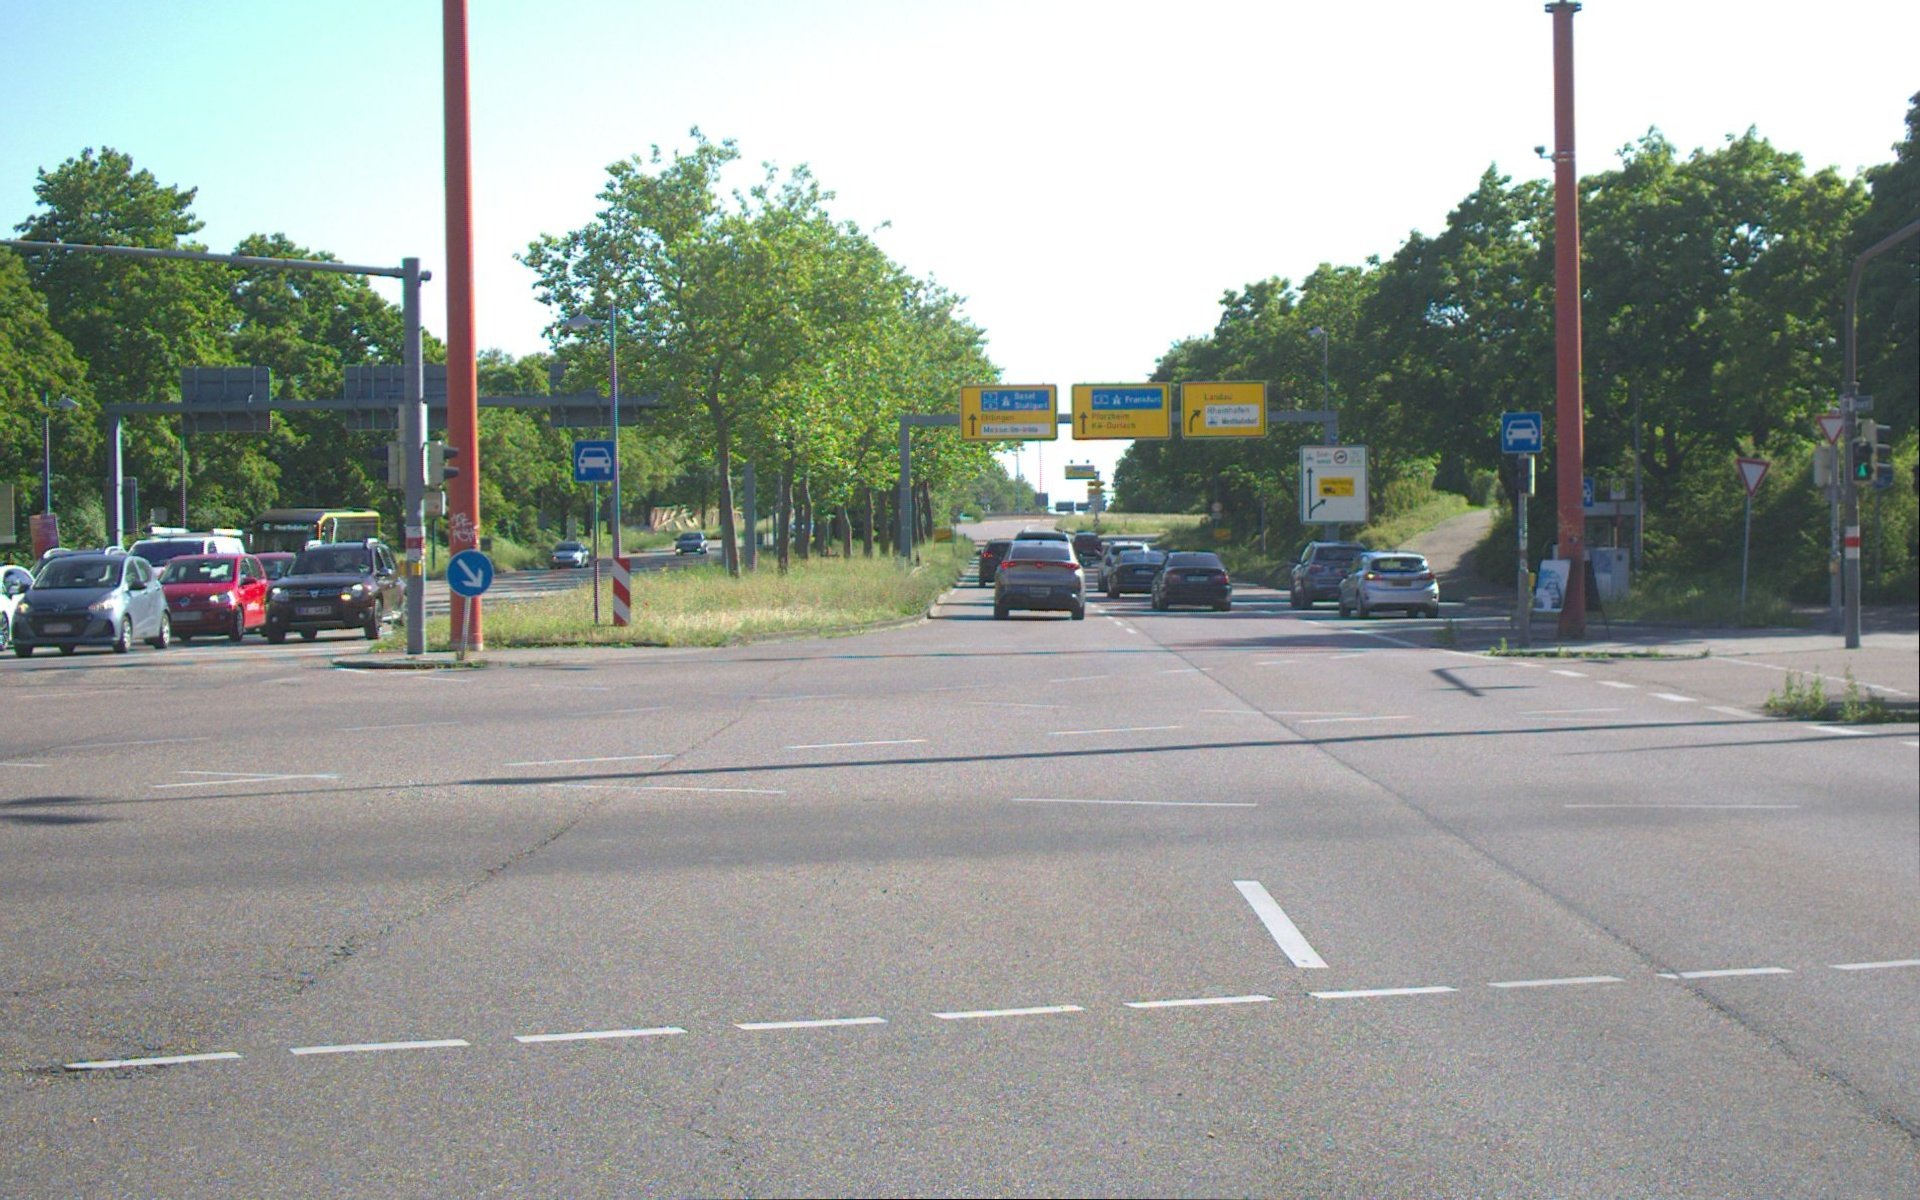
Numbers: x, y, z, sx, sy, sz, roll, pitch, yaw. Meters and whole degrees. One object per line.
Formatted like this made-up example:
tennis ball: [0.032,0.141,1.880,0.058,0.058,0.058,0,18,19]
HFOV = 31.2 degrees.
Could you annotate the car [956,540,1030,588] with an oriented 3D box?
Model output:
car: [1.094,-1.242,116.908,2.158,1.568,4.281,-1,1,-4]

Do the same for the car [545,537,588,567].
car: [-21.184,-2.605,185.264,1.993,1.568,4.121,-1,1,-3]

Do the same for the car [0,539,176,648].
car: [-13.255,-0.134,52.168,1.993,1.568,4.121,-1,1,-3]

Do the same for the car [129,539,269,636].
car: [-12.902,-0.238,58.470,1.993,1.568,4.122,-1,1,-8]

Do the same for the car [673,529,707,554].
car: [-17.318,-3.726,220.739,1.993,1.568,4.121,-1,1,-3]

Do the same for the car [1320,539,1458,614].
car: [9.274,-0.531,74.598,2.158,1.568,4.281,-1,1,-4]

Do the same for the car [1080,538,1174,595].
car: [4.718,-0.970,97.848,2.158,1.568,4.281,-1,1,-4]

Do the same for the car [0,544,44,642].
car: [-16.491,-0.120,57.037,1.993,1.568,4.122,-2,1,-8]

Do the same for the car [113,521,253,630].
car: [-16.118,-0.531,71.509,2.062,2.185,4.379,-1,1,-2]

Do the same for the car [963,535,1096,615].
car: [1.387,-0.524,70.559,2.245,1.568,4.282,-1,1,-5]

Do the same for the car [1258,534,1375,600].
car: [8.869,-0.842,85.828,2.158,1.568,4.281,-1,1,-4]

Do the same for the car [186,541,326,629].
car: [-13.120,-0.298,64.249,1.993,1.568,4.121,-1,1,-4]

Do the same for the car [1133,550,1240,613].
car: [5.374,-0.469,81.925,1.953,1.437,4.281,-1,1,-4]

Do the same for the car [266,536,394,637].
car: [-10.250,-0.247,56.149,1.876,1.568,4.122,-1,1,-8]
